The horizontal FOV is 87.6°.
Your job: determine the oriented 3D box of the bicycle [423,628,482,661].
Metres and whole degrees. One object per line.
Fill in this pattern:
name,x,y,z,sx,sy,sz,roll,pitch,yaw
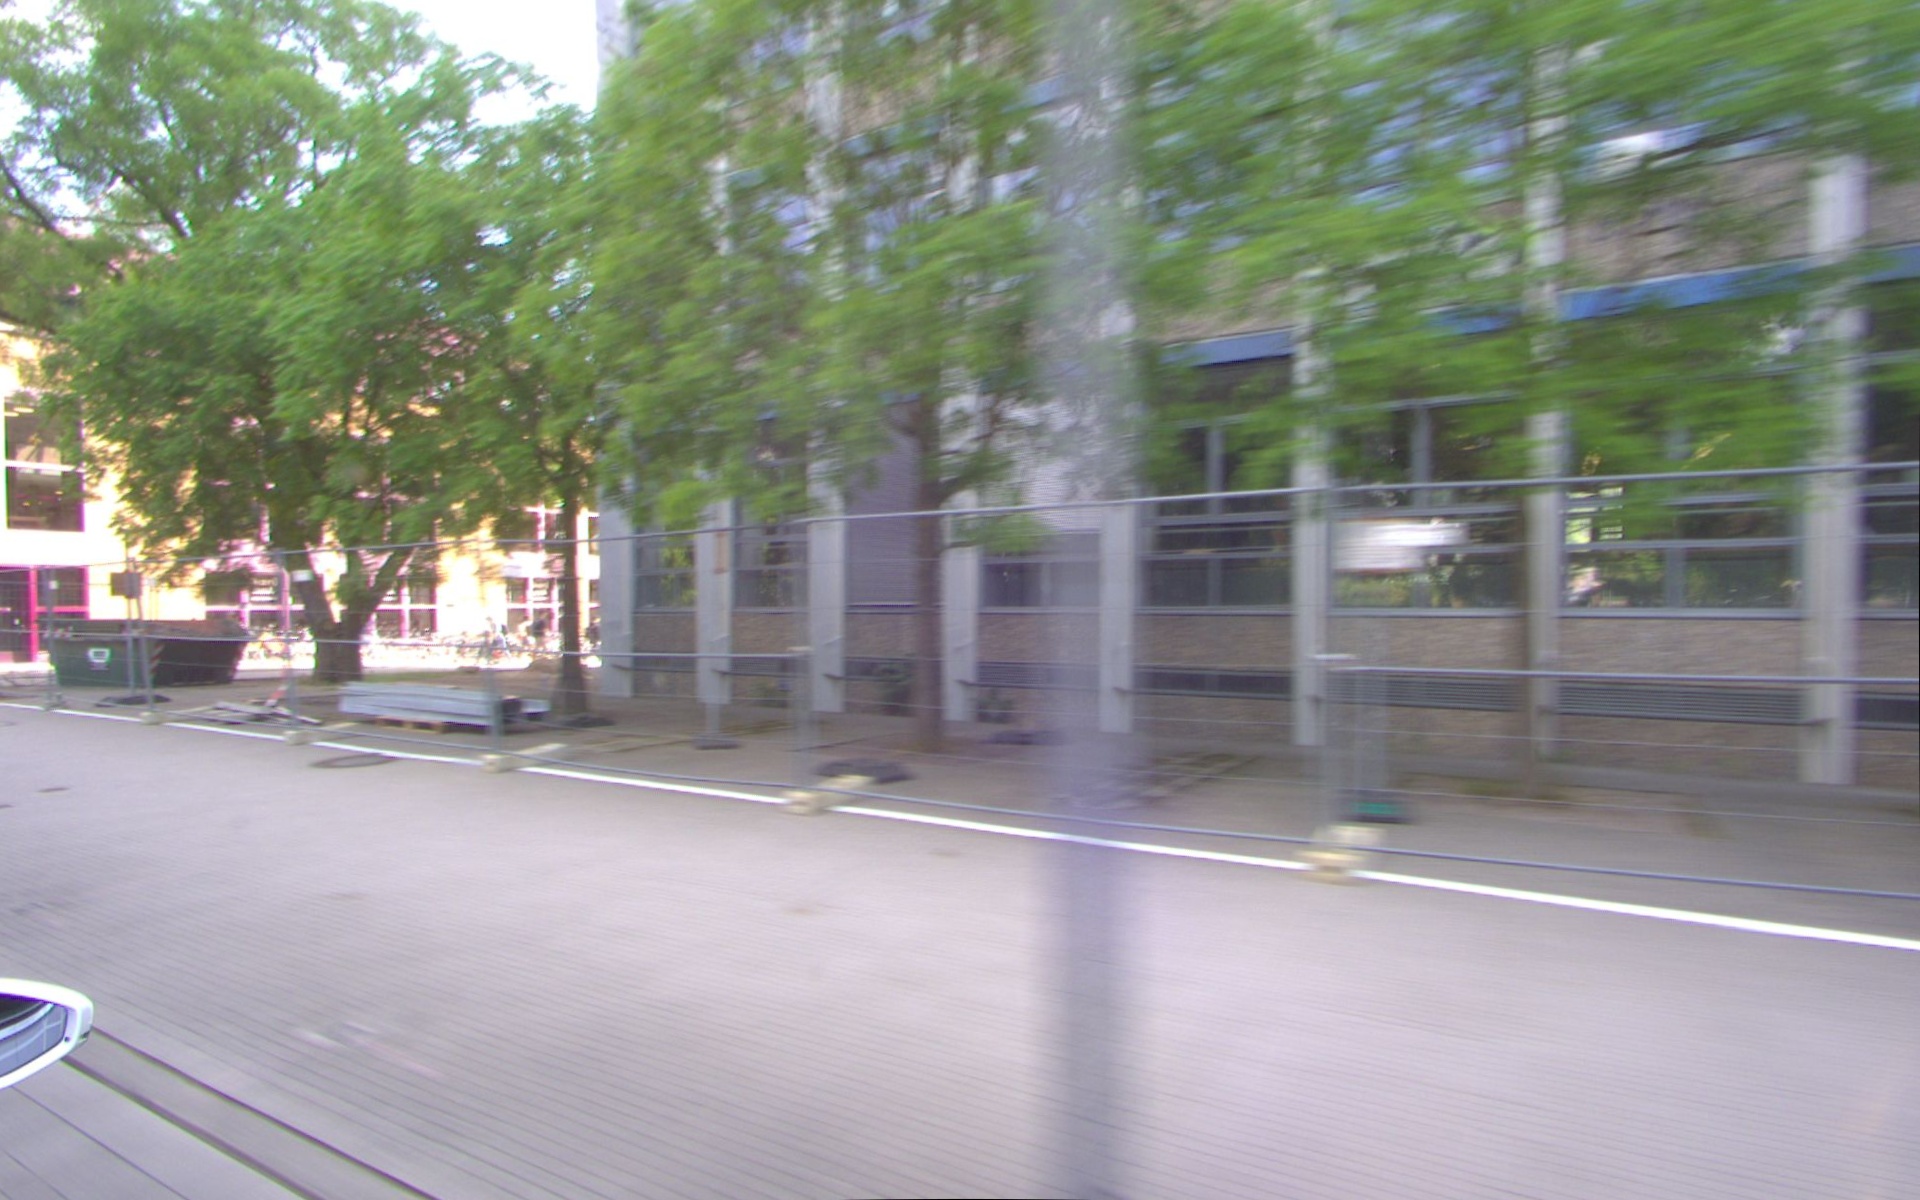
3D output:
bicycle,-18.823,1.651,37.183,0.467,1.184,1.995,0,-2,29

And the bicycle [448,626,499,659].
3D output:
bicycle,-17.764,1.557,36.646,0.465,1.184,2.002,1,-2,15

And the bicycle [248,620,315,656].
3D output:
bicycle,-21.918,1.225,32.374,0.466,1.124,1.807,0,-2,25

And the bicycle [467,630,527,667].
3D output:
bicycle,-15.251,1.589,33.004,0.467,1.184,1.802,0,-2,34

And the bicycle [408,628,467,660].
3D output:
bicycle,-19.638,1.659,37.685,0.467,1.184,1.995,0,-2,29

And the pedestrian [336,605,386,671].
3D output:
pedestrian,-16.277,1.029,27.224,0.674,1.750,0.901,-2,-1,26

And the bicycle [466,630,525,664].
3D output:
bicycle,-16.660,1.674,35.941,0.467,1.184,1.995,0,-2,30

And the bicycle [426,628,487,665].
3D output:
bicycle,-16.615,1.526,33.054,0.467,1.184,1.804,0,-2,31

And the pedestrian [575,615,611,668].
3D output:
pedestrian,-12.378,1.389,33.764,0.674,1.750,0.901,-2,-1,26

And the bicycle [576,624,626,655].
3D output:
bicycle,-14.121,1.566,39.433,0.537,1.184,1.995,0,-2,30

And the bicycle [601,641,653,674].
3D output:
bicycle,-12.633,2.175,38.021,0.537,1.184,1.995,0,-2,30

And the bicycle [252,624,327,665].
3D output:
bicycle,-18.771,1.245,28.070,0.467,1.124,1.690,0,-2,34

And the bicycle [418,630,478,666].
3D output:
bicycle,-17.090,1.603,33.457,0.467,1.184,1.805,0,-2,29

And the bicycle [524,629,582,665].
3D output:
bicycle,-14.115,1.633,34.785,0.467,1.184,1.995,0,-2,30

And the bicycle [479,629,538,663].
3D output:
bicycle,-16.131,1.649,35.817,0.467,1.184,1.995,0,-2,30

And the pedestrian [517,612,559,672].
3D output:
pedestrian,-12.616,1.252,29.979,0.674,1.750,0.901,-2,-1,26

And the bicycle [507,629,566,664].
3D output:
bicycle,-14.750,1.627,34.934,0.467,1.184,1.995,0,-2,30

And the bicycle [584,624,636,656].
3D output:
bicycle,-13.543,1.548,38.787,0.537,1.184,1.995,0,-2,30

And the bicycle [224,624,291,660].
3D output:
bicycle,-23.047,1.379,32.872,0.466,1.124,1.807,0,-2,25

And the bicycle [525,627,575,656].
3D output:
bicycle,-16.776,1.705,41.018,0.537,1.184,1.995,0,-2,30

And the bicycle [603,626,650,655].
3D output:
bicycle,-13.847,1.705,41.673,0.537,1.184,1.995,0,-2,30

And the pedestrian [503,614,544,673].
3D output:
pedestrian,-13.275,1.315,30.457,0.674,1.750,0.901,-2,-1,26

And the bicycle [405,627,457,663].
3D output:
bicycle,-18.167,1.544,34.434,0.465,1.184,1.811,1,-2,14

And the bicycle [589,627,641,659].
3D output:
bicycle,-13.211,1.653,38.394,0.537,1.184,1.995,0,-2,30

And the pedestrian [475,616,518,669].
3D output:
pedestrian,-14.794,1.359,31.990,0.694,1.672,1.041,-1,-1,38

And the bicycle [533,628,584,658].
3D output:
bicycle,-16.223,1.737,40.471,0.537,1.184,1.995,0,-2,30

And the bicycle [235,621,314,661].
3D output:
bicycle,-19.652,1.176,28.754,0.516,1.124,1.805,0,-2,34

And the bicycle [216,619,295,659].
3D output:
bicycle,-20.315,1.134,28.912,0.516,1.124,1.808,0,-2,30
